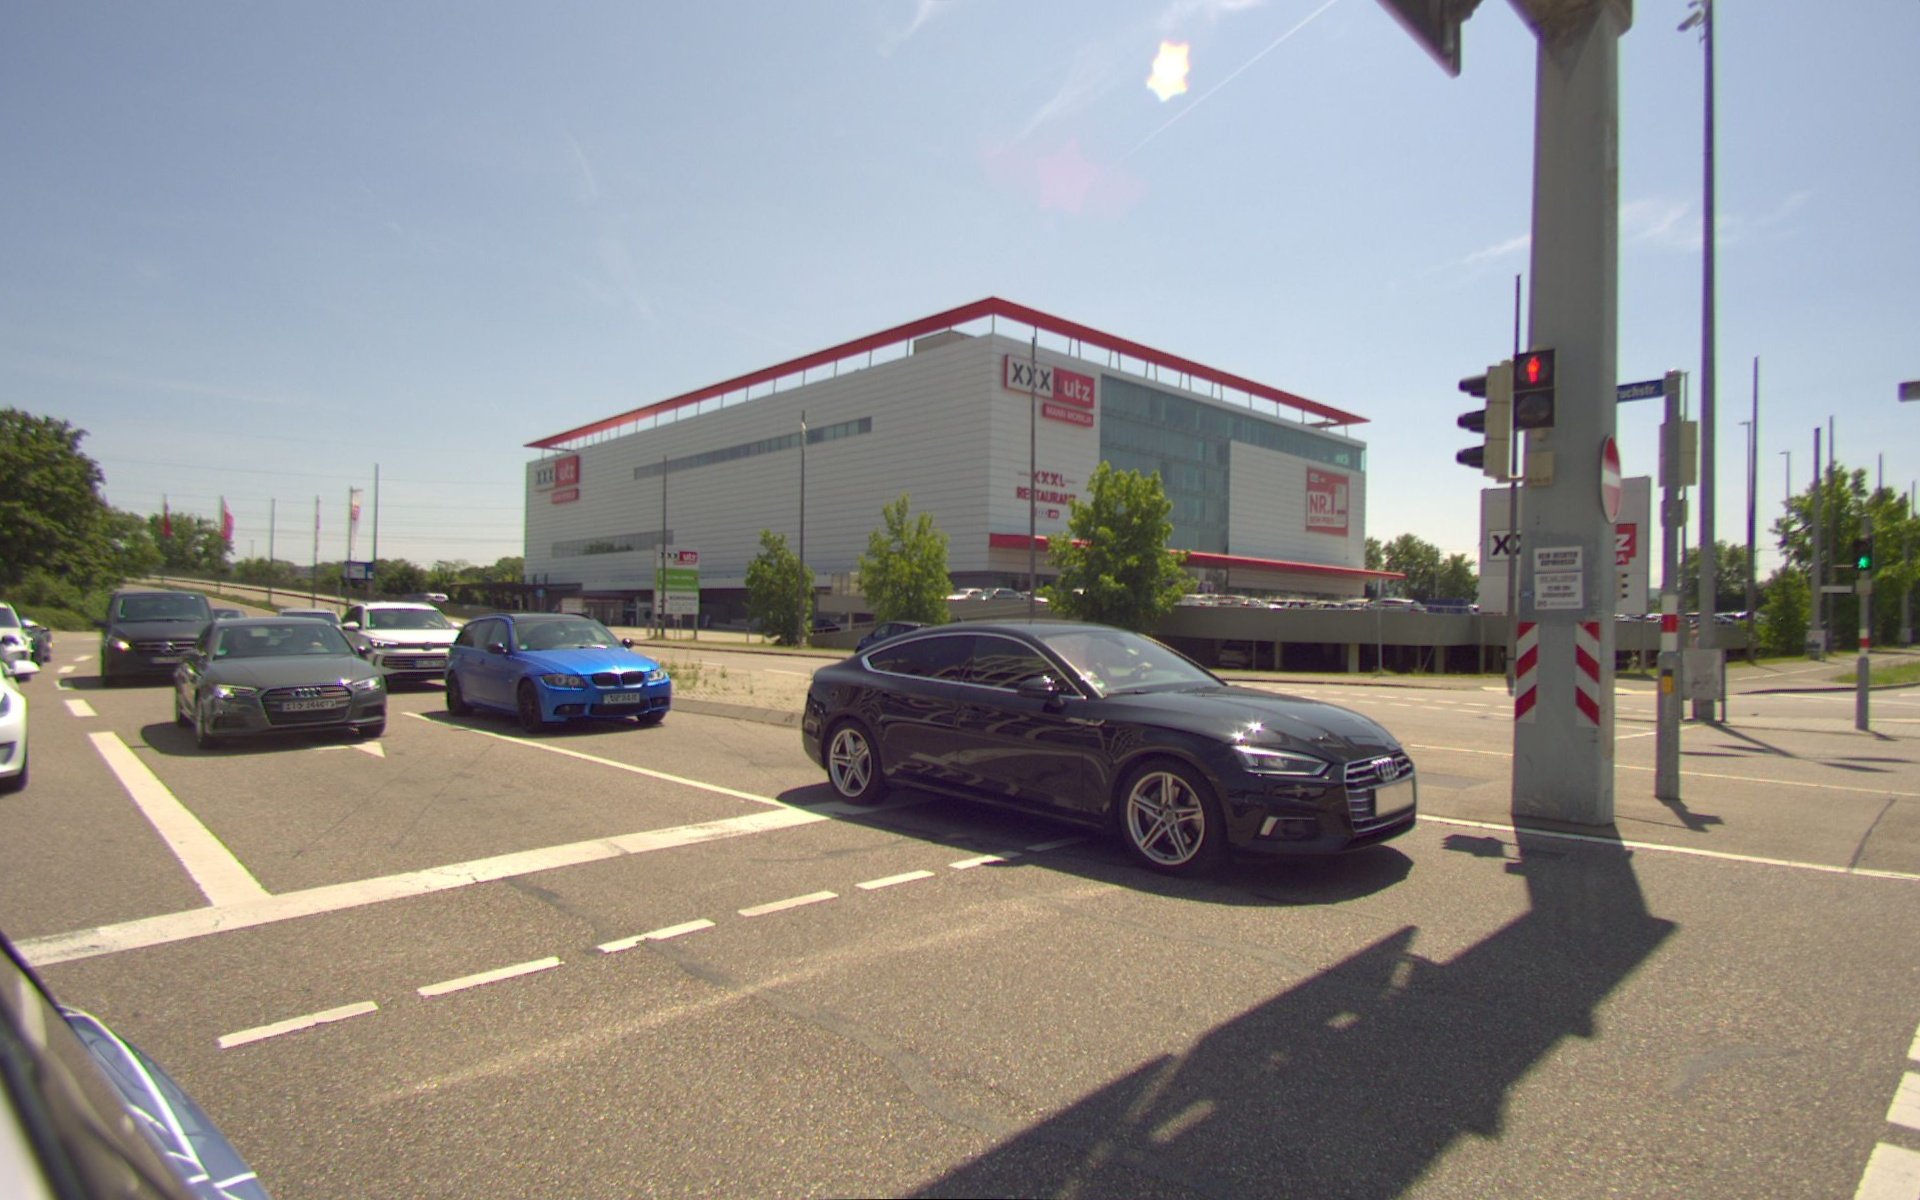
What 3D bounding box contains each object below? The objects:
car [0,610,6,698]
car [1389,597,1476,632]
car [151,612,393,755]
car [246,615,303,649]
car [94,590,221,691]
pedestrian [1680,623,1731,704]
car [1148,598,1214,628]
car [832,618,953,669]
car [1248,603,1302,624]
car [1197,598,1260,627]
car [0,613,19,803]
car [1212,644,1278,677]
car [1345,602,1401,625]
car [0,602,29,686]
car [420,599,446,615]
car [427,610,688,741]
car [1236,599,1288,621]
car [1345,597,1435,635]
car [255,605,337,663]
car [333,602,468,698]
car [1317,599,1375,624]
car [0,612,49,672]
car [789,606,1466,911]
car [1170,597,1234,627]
[{"bbox_3d":[-16.776,0.931,16.517,1.533,1.548,3.826,2,-2,-41],"label":"car"},{"bbox_3d":[28.413,0.867,60.910,4.328,2.029,1.972,0,-1,42],"label":"car"},{"bbox_3d":[-8.351,0.853,12.134,1.744,1.393,4.093,0,0,-44],"label":"car"},{"bbox_3d":[-30.292,1.383,44.817,1.581,1.450,3.745,1,-1,-26],"label":"car"},{"bbox_3d":[-16.695,0.750,20.981,1.867,1.835,4.844,0,0,-40],"label":"car"},{"bbox_3d":[16.992,1.425,23.062,0.595,1.797,0.828,2,-2,-42],"label":"pedestrian"},{"bbox_3d":[15.414,0.916,70.571,1.757,2.029,4.237,2,-1,-44],"label":"car"},{"bbox_3d":[-2.344,1.437,34.389,1.970,1.608,4.003,2,-2,-44],"label":"car"},{"bbox_3d":[27.051,1.165,86.932,1.757,1.694,4.138,2,-1,-44],"label":"car"},{"bbox_3d":[19.456,0.895,73.442,1.757,2.029,4.138,2,-1,-44],"label":"car"},{"bbox_3d":[-9.491,0.861,8.785,1.798,1.447,4.287,-1,0,-45],"label":"car"},{"bbox_3d":[15.963,3.352,56.566,2.000,1.719,3.944,0,-2,42],"label":"car"},{"bbox_3d":[34.989,1.146,85.764,1.970,1.915,4.004,2,-2,-43],"label":"car"},{"bbox_3d":[-20.577,0.848,20.947,1.752,1.621,3.826,2,-1,-41],"label":"car"},{"bbox_3d":[-76.522,1.060,146.928,2.160,2.300,4.819,2,-2,-42],"label":"car"},{"bbox_3d":[-5.555,0.875,13.639,1.744,1.413,4.435,0,0,-44],"label":"car"},{"bbox_3d":[25.381,0.841,85.013,1.757,1.801,3.842,2,-1,-44],"label":"car"},{"bbox_3d":[24.243,0.891,57.122,4.328,2.029,1.972,0,-1,42],"label":"car"},{"bbox_3d":[-17.947,0.874,27.452,1.741,1.433,3.910,0,-1,-32],"label":"car"},{"bbox_3d":[-11.073,0.878,19.874,1.742,1.653,4.501,0,0,-36],"label":"car"},{"bbox_3d":[31.443,0.935,82.566,1.970,1.915,4.004,2,-2,-43],"label":"car"},{"bbox_3d":[-24.698,1.040,26.044,1.744,1.413,3.955,1,-1,-43],"label":"car"},{"bbox_3d":[0.794,0.798,6.913,1.652,1.415,4.470,2,-2,-44],"label":"car"},{"bbox_3d":[17.178,0.850,71.974,1.757,2.029,4.138,2,-1,-44],"label":"car"}]
